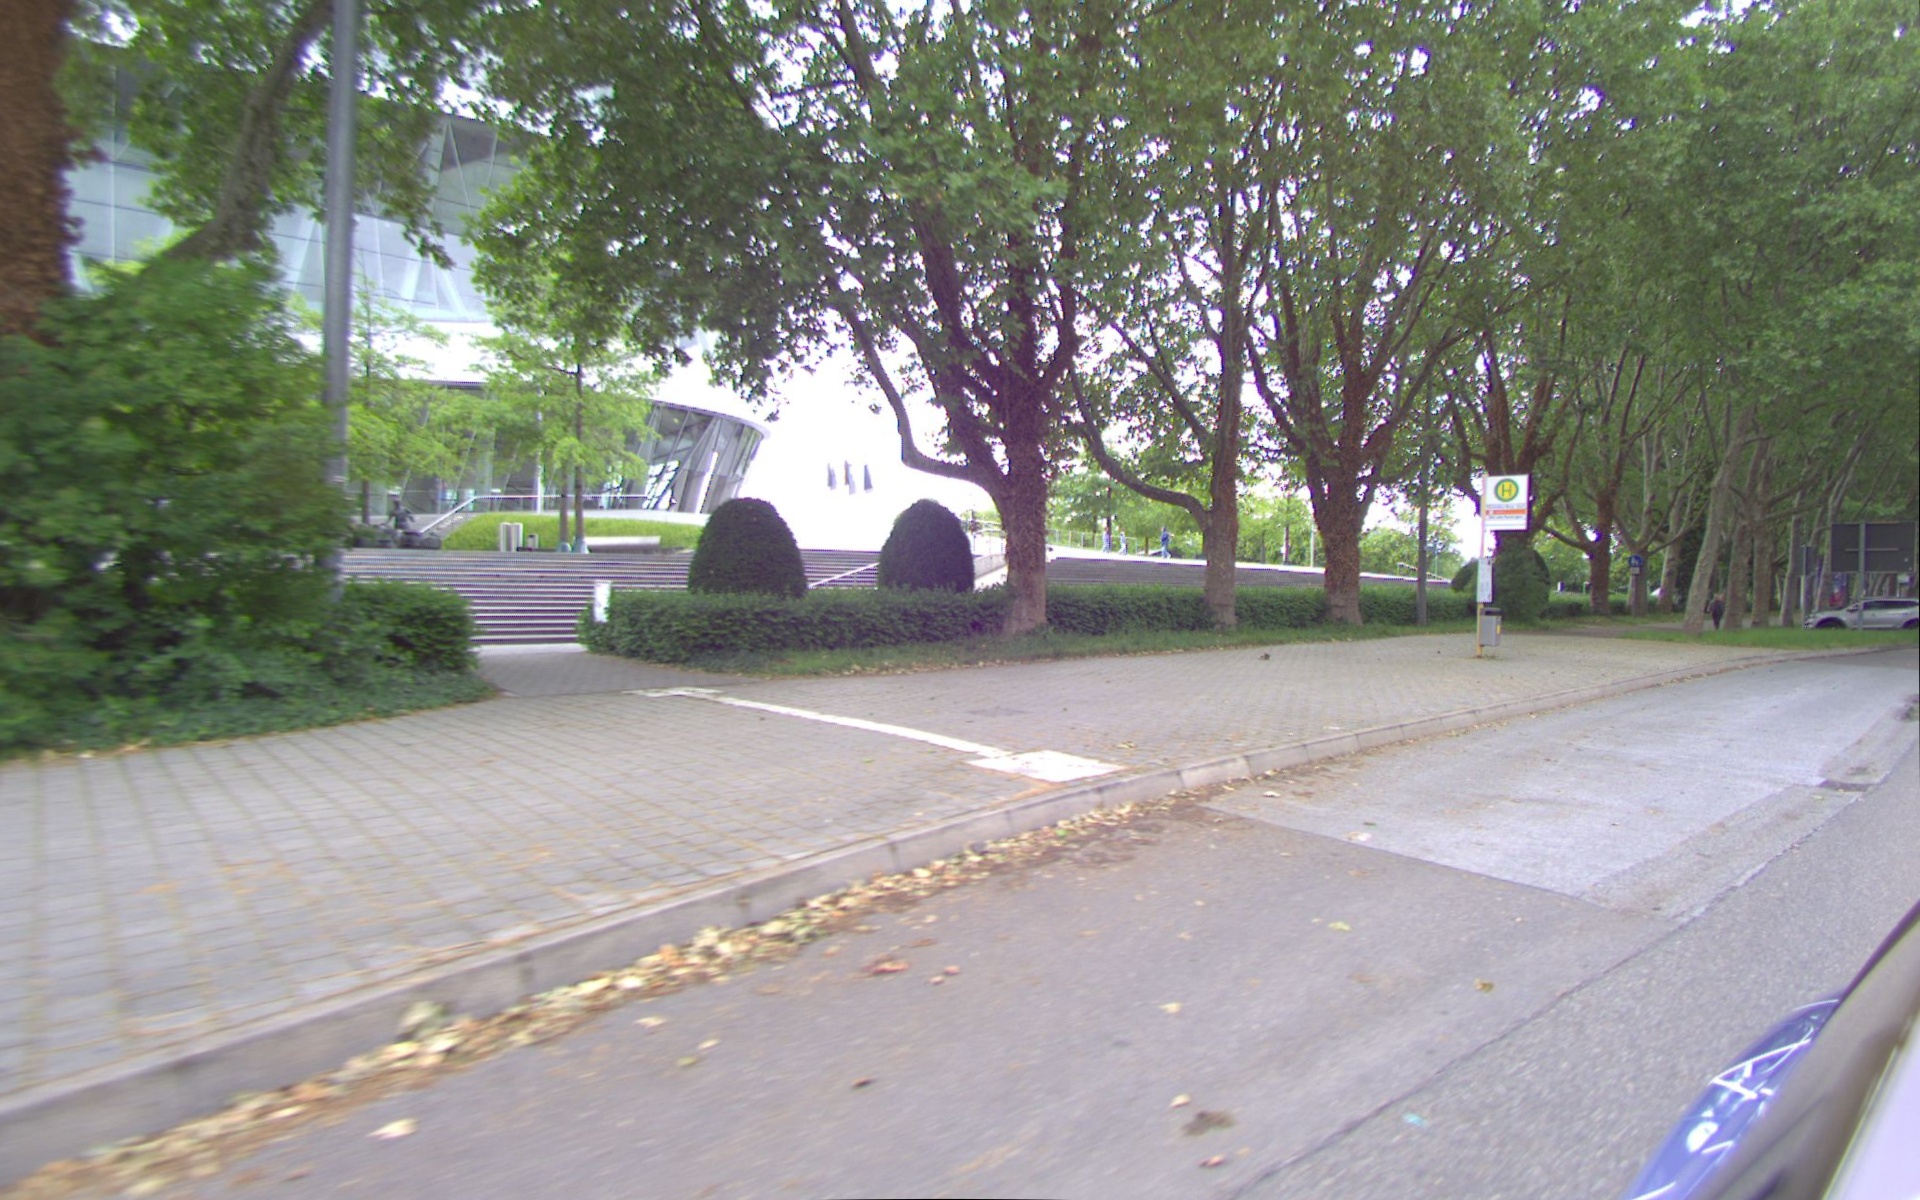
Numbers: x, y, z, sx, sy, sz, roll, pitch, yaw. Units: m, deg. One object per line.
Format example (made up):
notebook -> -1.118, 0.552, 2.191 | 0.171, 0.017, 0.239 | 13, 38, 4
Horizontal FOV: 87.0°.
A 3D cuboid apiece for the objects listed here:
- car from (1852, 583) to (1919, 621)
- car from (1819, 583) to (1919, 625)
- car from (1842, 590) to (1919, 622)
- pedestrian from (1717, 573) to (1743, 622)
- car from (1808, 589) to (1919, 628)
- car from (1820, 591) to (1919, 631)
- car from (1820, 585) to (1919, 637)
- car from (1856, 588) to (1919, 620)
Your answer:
car -> 46.453, 0.096, 49.333 | 1.894, 1.783, 4.349 | 0, 1, -45
car -> 37.703, 0.160, 40.904 | 1.893, 1.654, 4.350 | 1, -1, -43
car -> 44.644, 0.288, 47.862 | 1.918, 1.474, 4.347 | 1, -1, -45
pedestrian -> 32.024, -0.116, 42.092 | 0.780, 2.039, 0.593 | 0, 0, 30
car -> 40.414, 0.364, 44.676 | 1.893, 1.654, 4.350 | 1, -1, -43
car -> 39.390, 0.452, 42.867 | 1.893, 1.625, 4.350 | 1, -1, -43
car -> 37.507, 0.446, 40.919 | 1.966, 2.039, 3.991 | 1, -1, -43
car -> 53.215, 0.250, 56.780 | 4.347, 1.768, 1.807 | 0, -1, 45
